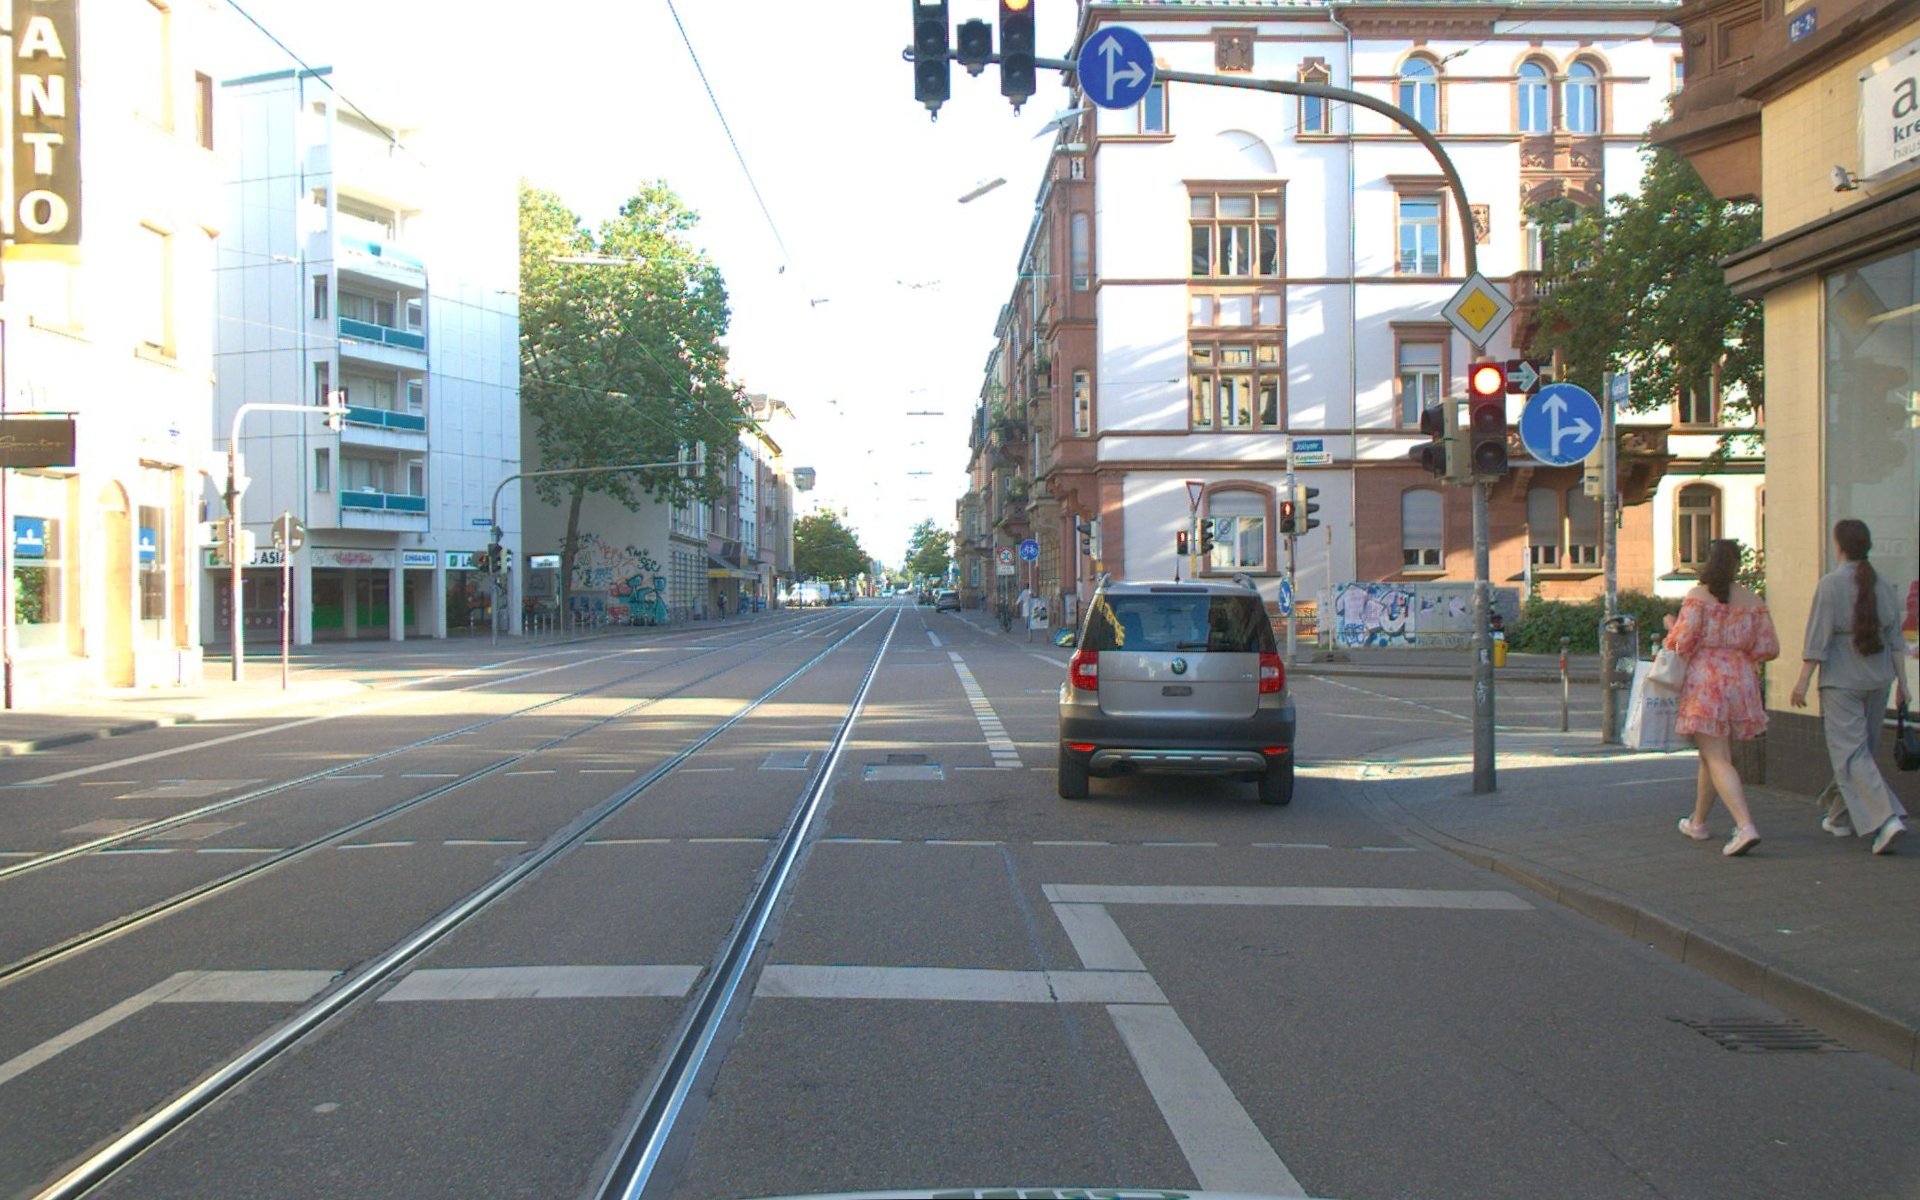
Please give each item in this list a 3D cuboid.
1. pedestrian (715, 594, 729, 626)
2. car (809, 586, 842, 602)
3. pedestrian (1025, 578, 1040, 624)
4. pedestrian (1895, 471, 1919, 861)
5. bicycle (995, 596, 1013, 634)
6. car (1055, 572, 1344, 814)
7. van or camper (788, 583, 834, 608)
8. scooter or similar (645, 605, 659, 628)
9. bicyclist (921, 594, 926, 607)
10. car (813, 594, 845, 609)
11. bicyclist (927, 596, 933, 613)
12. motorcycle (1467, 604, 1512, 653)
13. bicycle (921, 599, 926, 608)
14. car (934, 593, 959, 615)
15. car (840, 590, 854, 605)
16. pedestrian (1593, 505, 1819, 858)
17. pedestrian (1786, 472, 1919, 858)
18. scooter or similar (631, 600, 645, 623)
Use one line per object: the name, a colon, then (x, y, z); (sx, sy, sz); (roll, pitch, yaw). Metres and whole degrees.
pedestrian: (-13.043, 0.541, 90.771); (0.687, 1.759, 0.647); (0, 0, -2)
car: (-17.397, -0.711, 213.887); (3.939, 2.049, 1.983); (0, 0, -27)
pedestrian: (2.820, 0.031, 64.533); (0.533, 1.811, 0.504); (0, 0, -1)
pedestrian: (4.158, 0.391, 5.985); (0.789, 1.831, 1.091); (-4, 1, -3)
bicycle: (1.577, 0.517, 59.396); (0.640, 1.347, 2.177); (0, 0, 1)
car: (1.785, 0.645, 13.554); (1.952, 1.646, 4.001); (1, 0, 3)
van or camper: (-16.026, -0.457, 178.320); (4.591, 2.608, 1.977); (1, -1, -33)
scooter or similar: (-14.791, 0.771, 79.396); (0.506, 1.076, 1.477); (0, 0, -4)
bicyclist: (-4.211, 0.002, 188.725); (0.563, 1.477, 0.645); (0, 0, -1)
car: (-18.008, 0.222, 227.390); (3.939, 2.049, 1.983); (0, 0, -27)
bicyclist: (-2.833, 0.443, 158.029); (0.563, 1.581, 0.595); (0, 0, -1)
motorcycle: (12.586, 0.651, 39.355); (0.704, 1.037, 2.289); (0, 2, 10)
bicycle: (-4.205, 0.363, 188.717); (0.563, 1.048, 1.895); (0, 0, -1)
car: (-1.035, 0.299, 128.681); (1.910, 1.713, 3.999); (0, 0, -1)
car: (-16.379, -0.373, 239.736); (1.953, 2.049, 3.998); (0, 0, -2)
pedestrian: (4.131, 0.428, 9.213); (0.789, 1.831, 0.761); (-4, 1, -3)
pedestrian: (4.932, 0.312, 8.733); (0.677, 1.941, 0.670); (-4, 1, -3)
scooter or similar: (-15.446, 0.546, 79.339); (0.506, 1.064, 1.477); (0, 0, -4)
